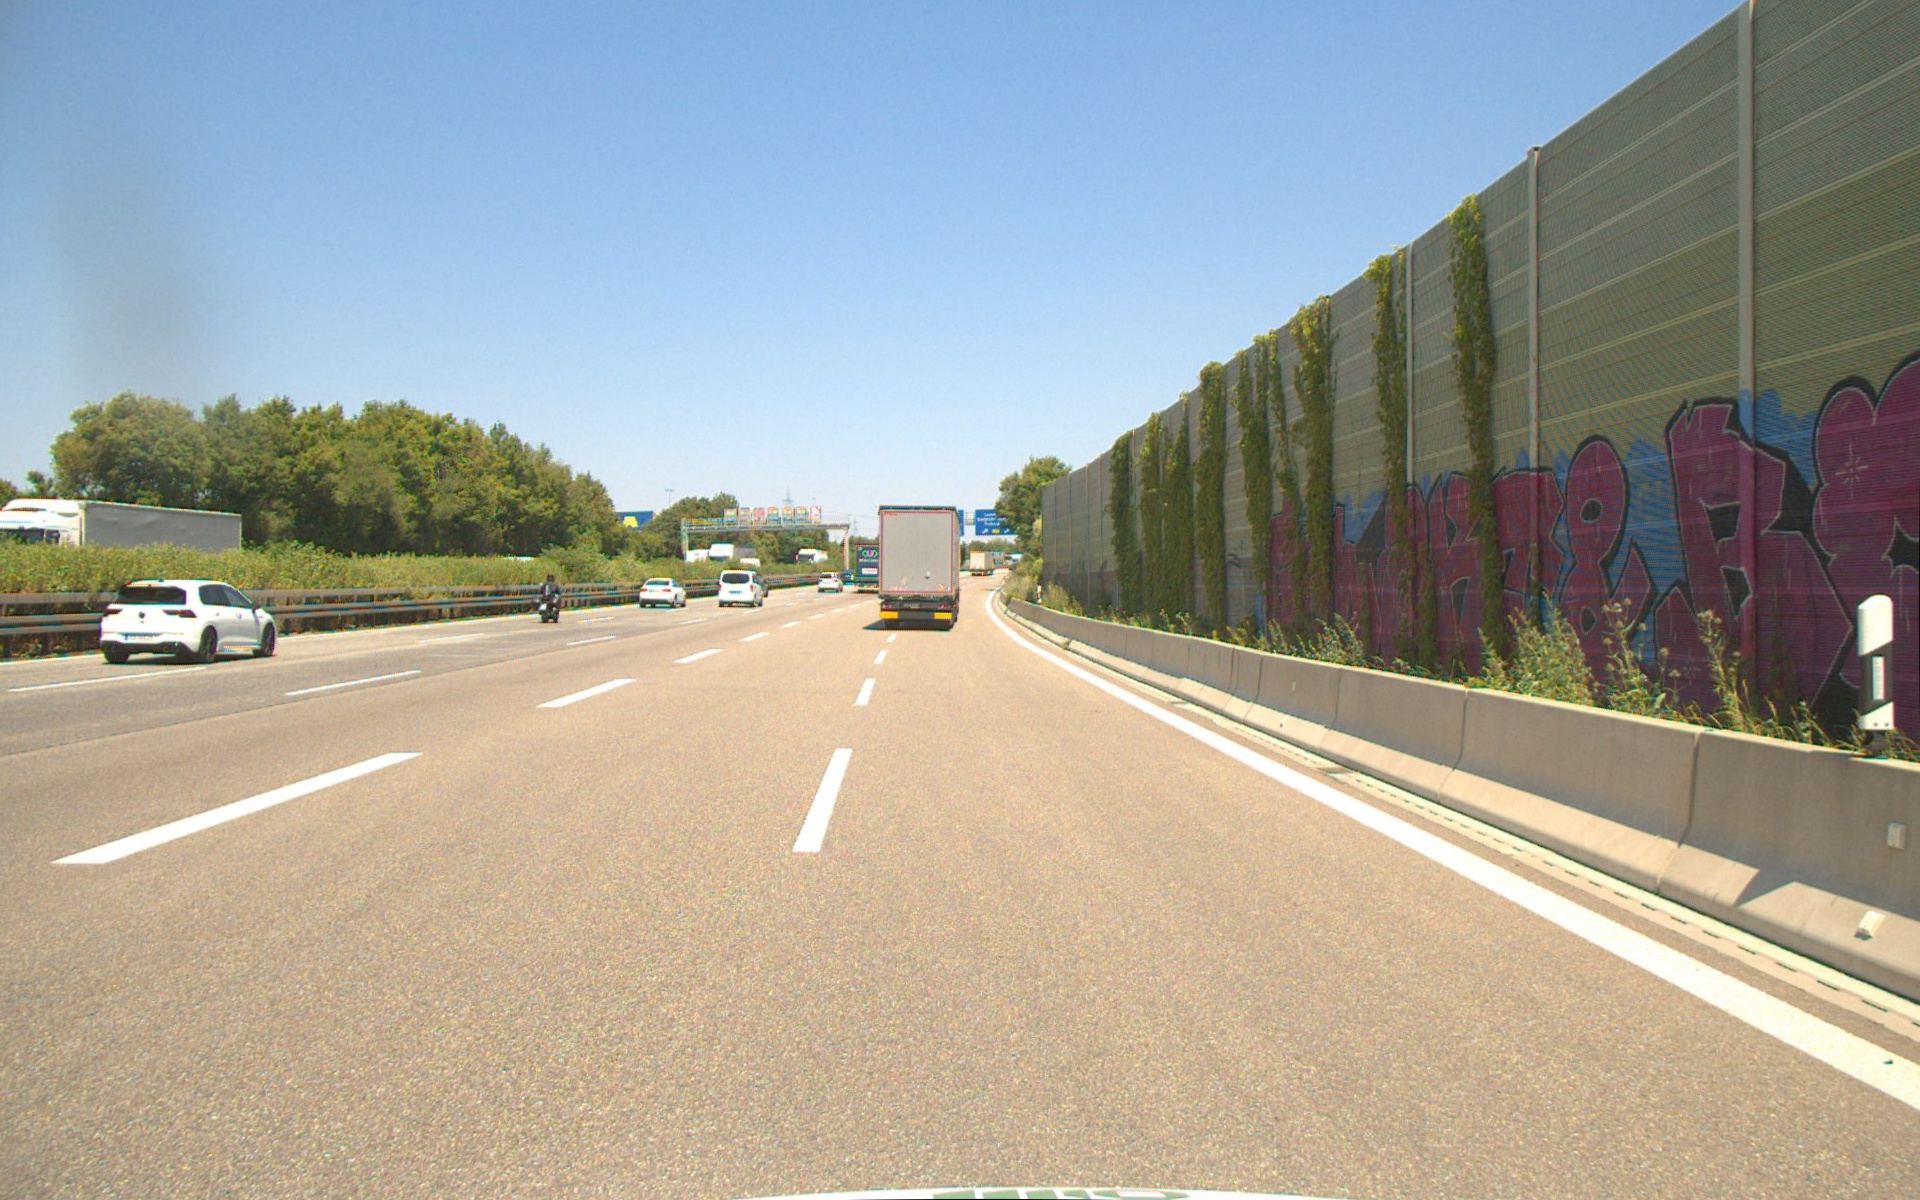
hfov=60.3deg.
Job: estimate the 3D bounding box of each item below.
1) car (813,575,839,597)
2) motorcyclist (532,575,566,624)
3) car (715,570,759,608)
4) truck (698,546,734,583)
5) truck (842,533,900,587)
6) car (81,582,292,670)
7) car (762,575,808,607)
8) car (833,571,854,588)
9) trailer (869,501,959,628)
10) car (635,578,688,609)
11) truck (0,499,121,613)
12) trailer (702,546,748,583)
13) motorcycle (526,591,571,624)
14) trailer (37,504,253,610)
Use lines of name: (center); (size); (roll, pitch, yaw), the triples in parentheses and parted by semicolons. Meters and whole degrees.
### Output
car: (-11.404, -1.180, 140.808); (1.865, 1.884, 4.630); (0, 0, -1)
motorcyclist: (-13.980, -0.013, 56.313); (0.875, 1.625, 1.299); (0, 0, -2)
car: (-11.738, -0.535, 87.297); (1.892, 1.884, 4.690); (0, -1, -2)
truck: (-27.825, -4.023, 188.632); (3.264, 4.161, 4.829); (1, 1, 0)
truck: (-7.515, -3.385, 142.130); (3.669, 4.344, 14.501); (1, 1, 2)
car: (-13.961, 0.419, 30.181); (1.746, 1.465, 4.668); (0, 1, -1)
car: (-10.299, -0.530, 97.552); (1.837, 1.838, 5.128); (0, 0, 3)
car: (-12.691, -2.236, 180.632); (1.865, 1.747, 4.631); (0, -1, 1)
trailer: (-1.586, -1.195, 59.526); (2.868, 4.085, 12.036); (0, 0, -1)
car: (-14.899, -0.296, 82.843); (1.838, 1.466, 5.124); (0, 0, -1)
truck: (-33.651, -1.584, 61.362); (2.486, 4.016, 5.166); (1, 0, -1)
trailer: (-27.735, -4.129, 195.960); (3.322, 4.161, 13.928); (1, 1, 1)
motorcycle: (-13.979, 0.242, 56.229); (0.894, 1.108, 2.848); (0, 0, -2)
trailer: (-33.777, -1.690, 69.479); (2.486, 4.016, 13.718); (1, 0, -1)
